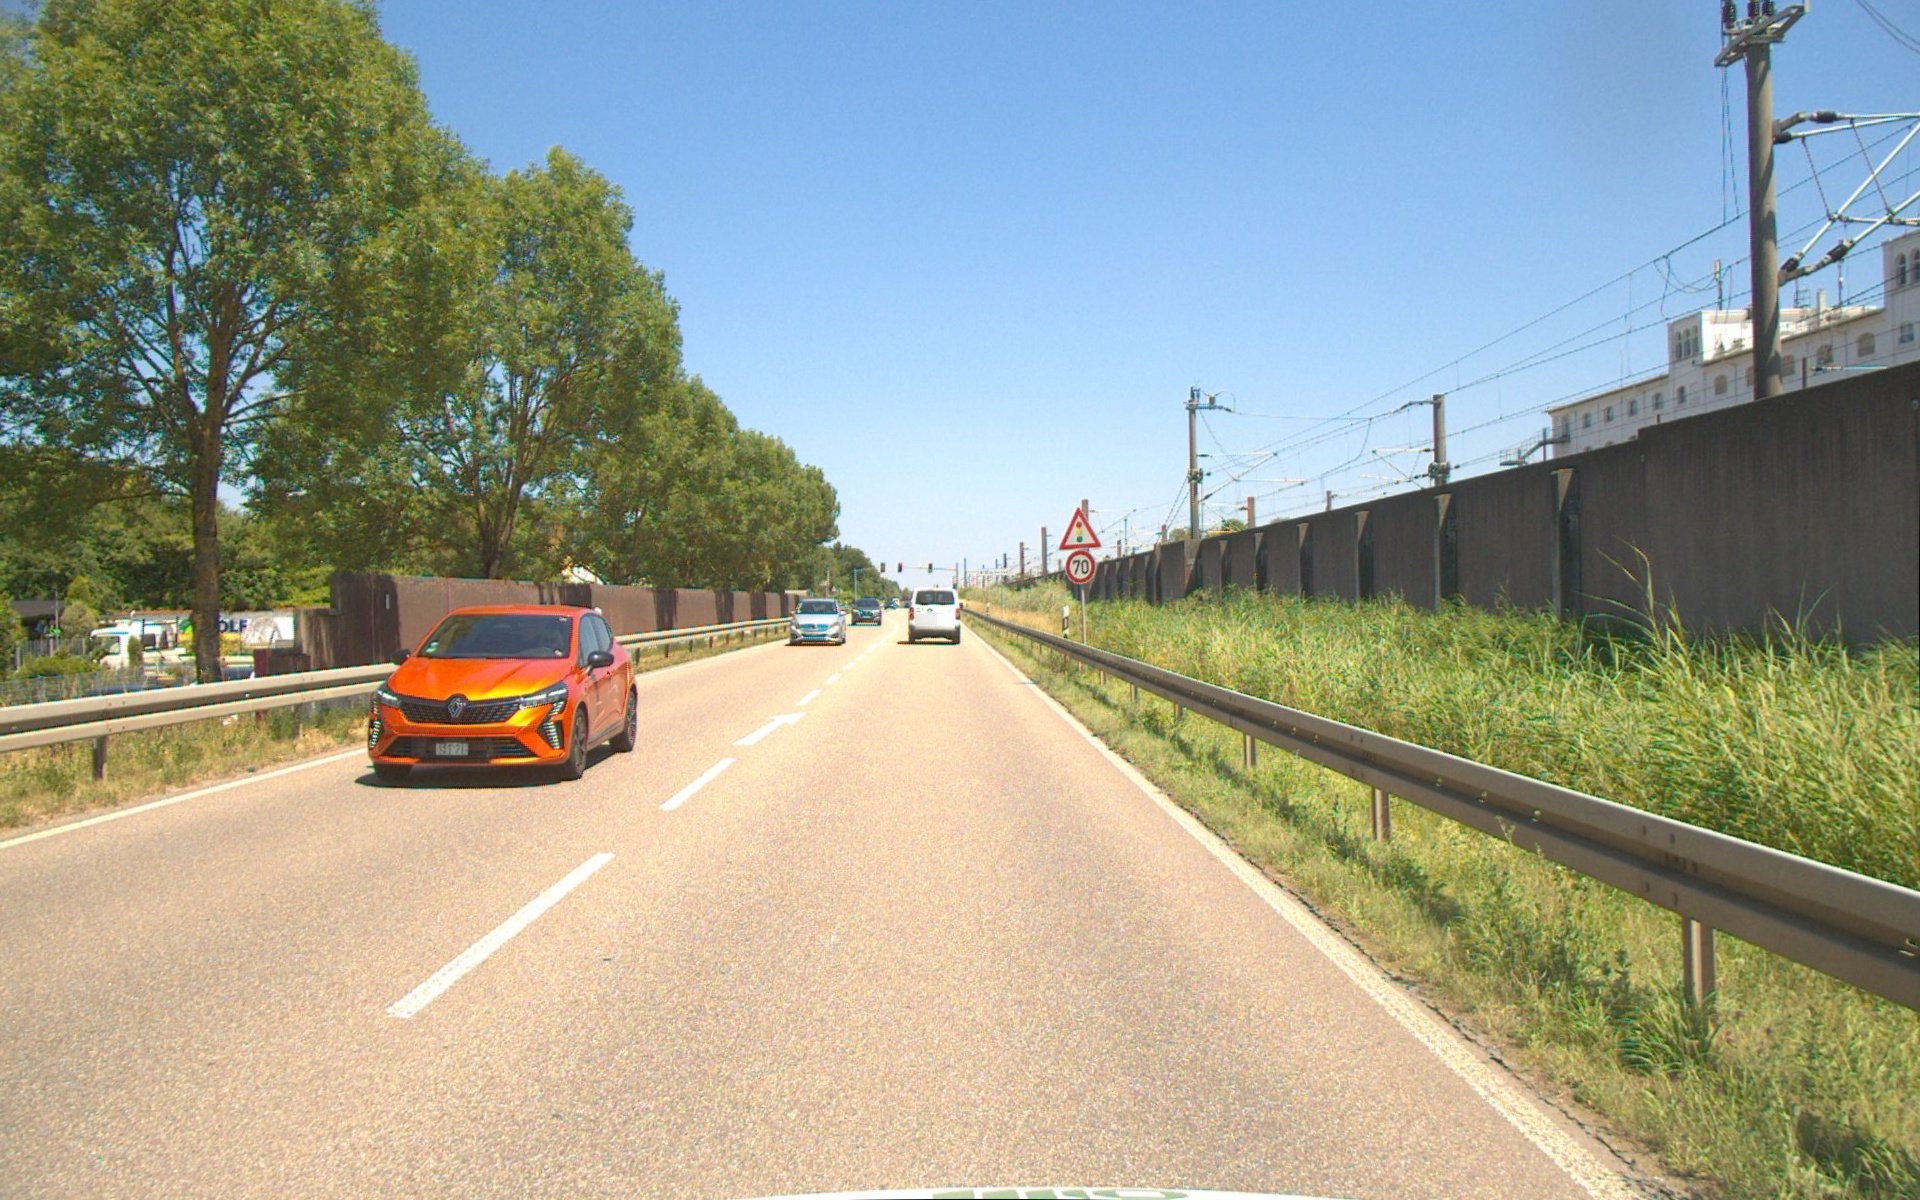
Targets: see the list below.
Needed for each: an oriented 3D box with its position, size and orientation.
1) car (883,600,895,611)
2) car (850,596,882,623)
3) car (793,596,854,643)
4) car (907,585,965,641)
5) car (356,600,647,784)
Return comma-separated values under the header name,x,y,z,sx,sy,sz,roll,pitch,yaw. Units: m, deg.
name,x,y,z,sx,sy,sz,roll,pitch,yaw
car,-11.125,0.873,259.506,1.783,1.624,3.998,1,0,-2
car,-5.626,0.549,99.307,1.753,1.552,4.388,0,0,-2
car,-4.613,0.640,56.481,1.753,1.552,4.389,0,0,-1
car,-0.853,0.431,58.601,1.953,1.882,3.999,1,0,-1
car,-4.021,0.730,15.151,1.754,1.446,3.997,0,0,-3
